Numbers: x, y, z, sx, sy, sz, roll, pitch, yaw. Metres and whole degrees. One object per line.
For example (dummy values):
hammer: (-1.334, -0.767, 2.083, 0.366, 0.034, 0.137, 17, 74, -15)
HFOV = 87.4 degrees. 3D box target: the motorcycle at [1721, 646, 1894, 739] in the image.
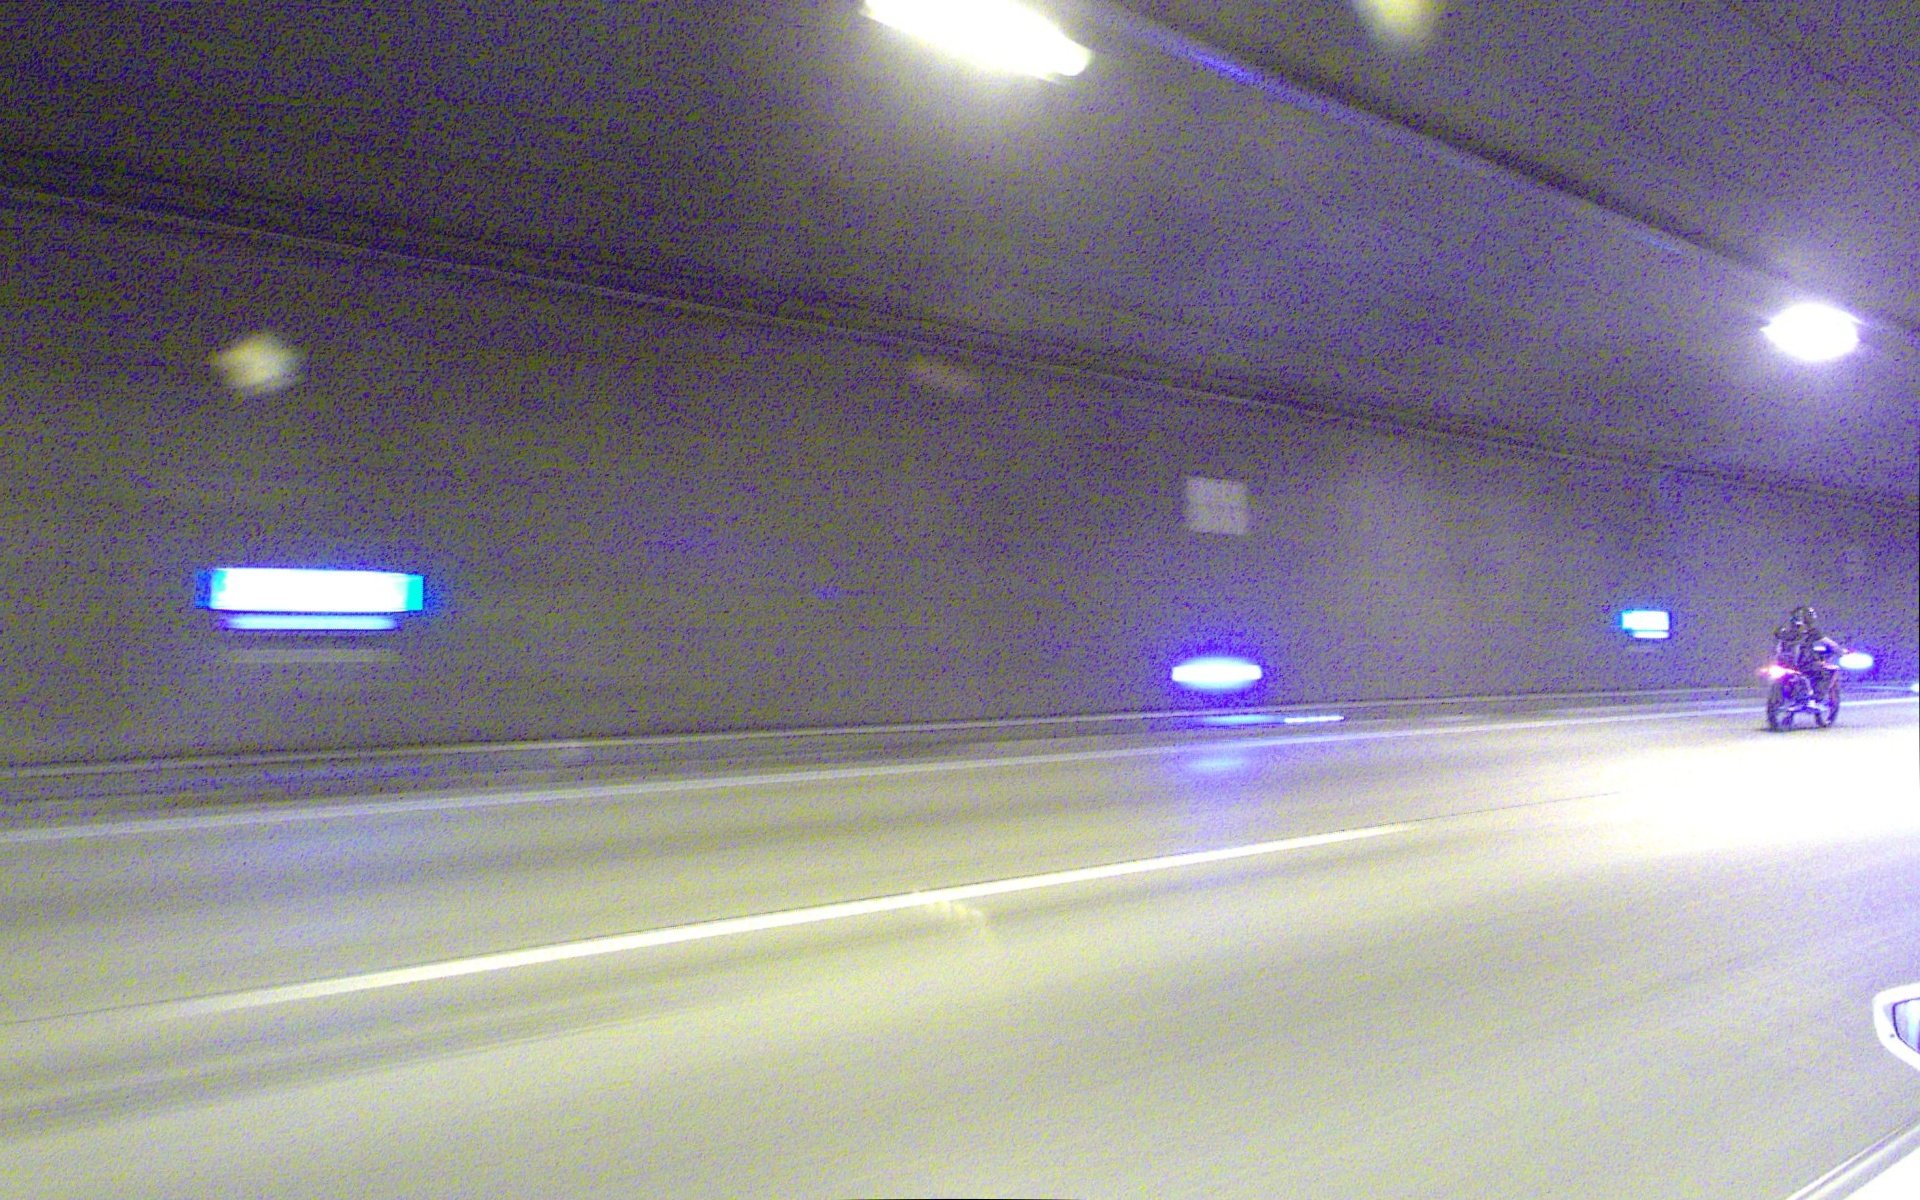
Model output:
motorcycle: (11.945, 1.260, 14.147, 2.397, 1.173, 1.049, 2, -1, -28)

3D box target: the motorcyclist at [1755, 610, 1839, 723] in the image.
motorcyclist: (11.609, 0.913, 13.934, 0.880, 1.509, 0.624, 2, -2, -29)
